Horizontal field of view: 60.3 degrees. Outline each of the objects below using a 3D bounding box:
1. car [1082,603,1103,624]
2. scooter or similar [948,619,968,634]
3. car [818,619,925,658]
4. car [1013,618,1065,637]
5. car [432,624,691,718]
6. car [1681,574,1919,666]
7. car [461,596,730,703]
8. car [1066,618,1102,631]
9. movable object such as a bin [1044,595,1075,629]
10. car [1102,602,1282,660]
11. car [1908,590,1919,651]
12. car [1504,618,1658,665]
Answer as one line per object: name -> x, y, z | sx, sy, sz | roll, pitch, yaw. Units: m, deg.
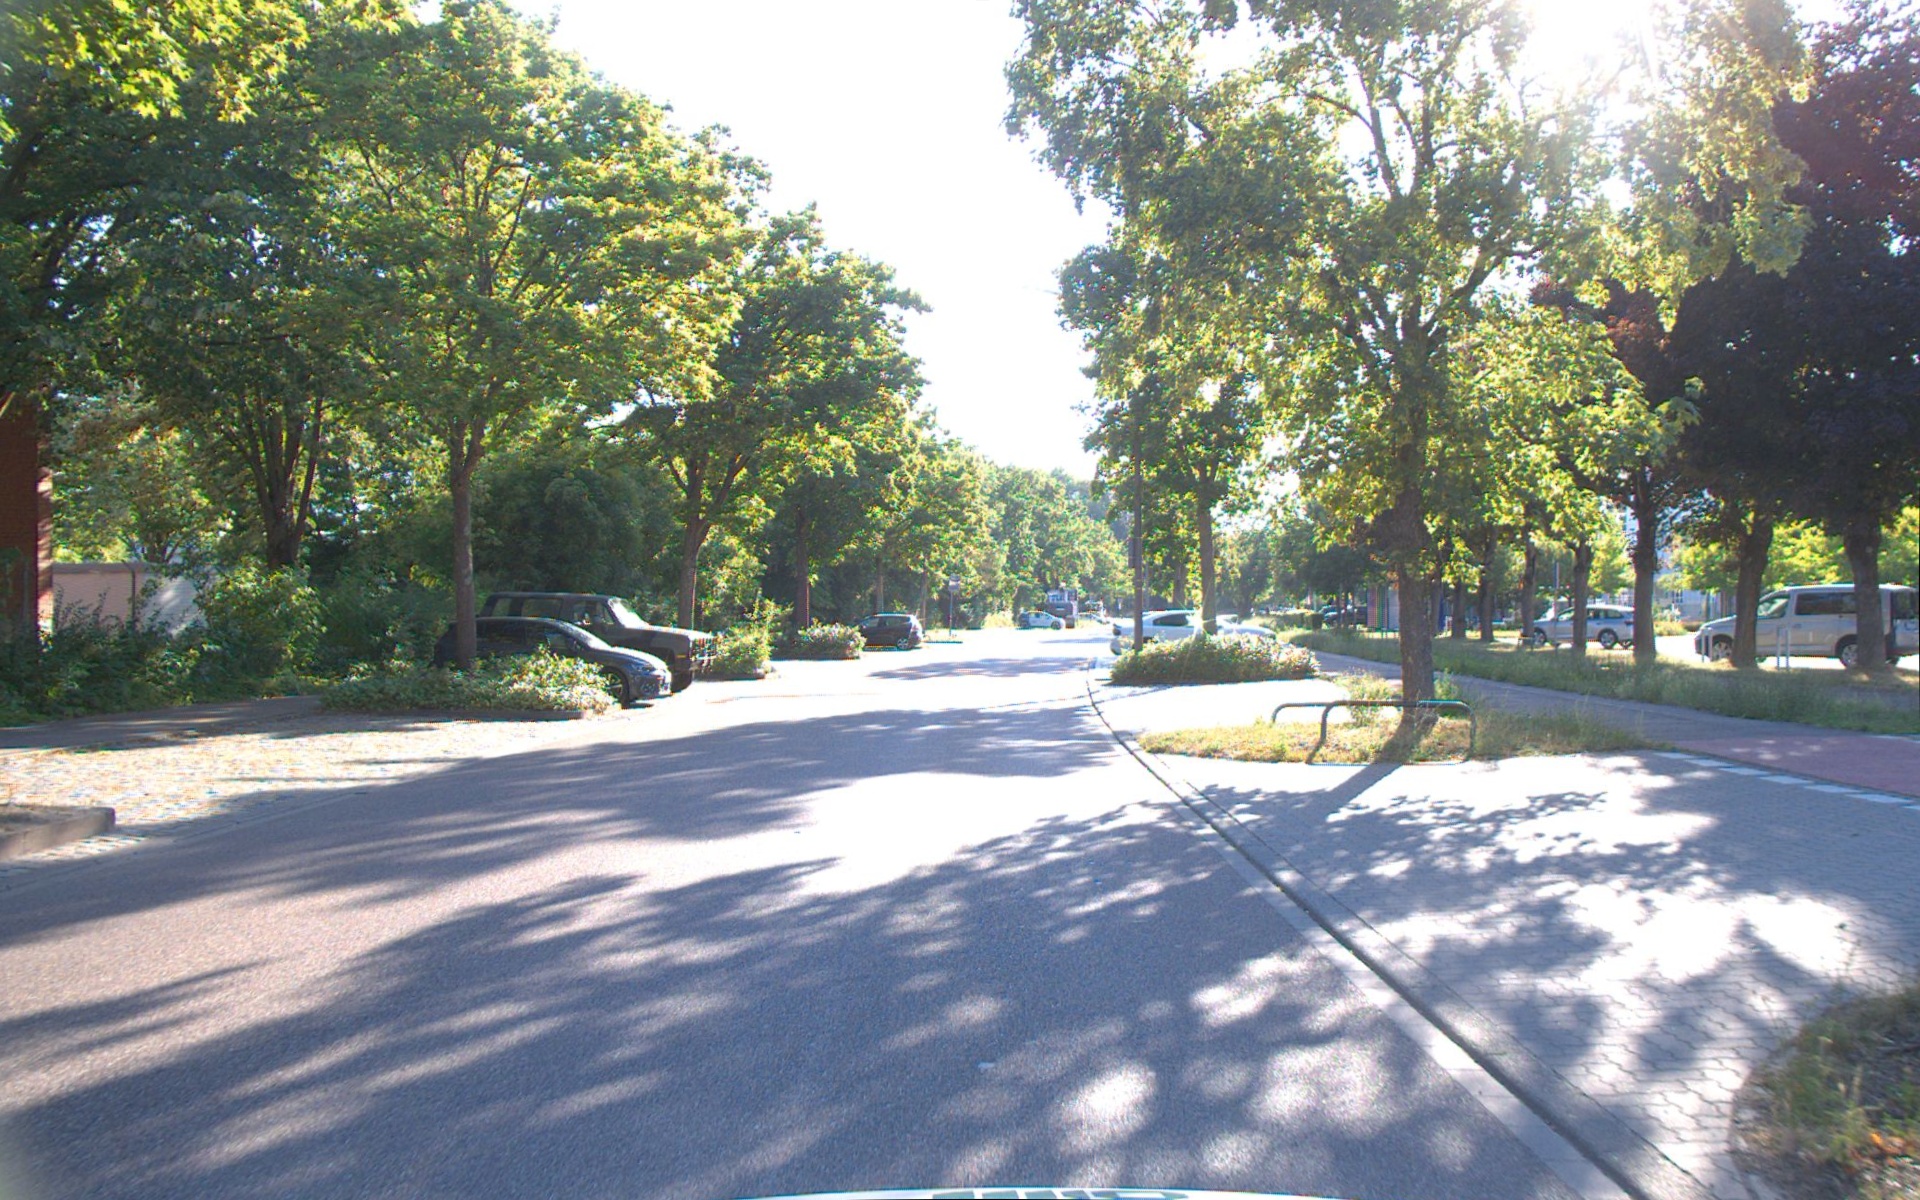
car -> 16.372, 1.676, 204.671 | 2.464, 2.428, 4.374 | -1, -1, 2
scooter or similar -> -0.138, 2.090, 129.159 | 1.571, 1.165, 0.568 | 0, -1, -42
car -> -3.736, 1.616, 70.232 | 4.266, 1.505, 2.001 | 1, 0, 6
car -> 6.814, 2.351, 143.084 | 4.265, 1.574, 2.002 | -1, 0, 9
car -> -7.004, 1.235, 29.306 | 4.124, 1.557, 1.706 | -1, -1, 1
car -> 19.337, 0.402, 37.845 | 1.979, 1.967, 4.888 | -1, 1, -37
car -> -7.286, 0.973, 33.420 | 4.901, 2.055, 2.175 | 0, -1, 1
car -> 14.643, 2.895, 195.459 | 4.268, 1.505, 2.000 | -1, -1, 2
movable object such as a bin -> 9.396, 1.139, 155.559 | 2.778, 3.122, 4.929 | -1, -1, 4
car -> 6.777, 0.899, 48.763 | 5.067, 1.601, 2.158 | -1, -1, 3
car -> 30.297, 0.577, 49.465 | 4.446, 1.780, 1.745 | -1, 0, -36
car -> 22.516, 1.502, 60.065 | 1.985, 1.601, 4.872 | 0, -1, -44
